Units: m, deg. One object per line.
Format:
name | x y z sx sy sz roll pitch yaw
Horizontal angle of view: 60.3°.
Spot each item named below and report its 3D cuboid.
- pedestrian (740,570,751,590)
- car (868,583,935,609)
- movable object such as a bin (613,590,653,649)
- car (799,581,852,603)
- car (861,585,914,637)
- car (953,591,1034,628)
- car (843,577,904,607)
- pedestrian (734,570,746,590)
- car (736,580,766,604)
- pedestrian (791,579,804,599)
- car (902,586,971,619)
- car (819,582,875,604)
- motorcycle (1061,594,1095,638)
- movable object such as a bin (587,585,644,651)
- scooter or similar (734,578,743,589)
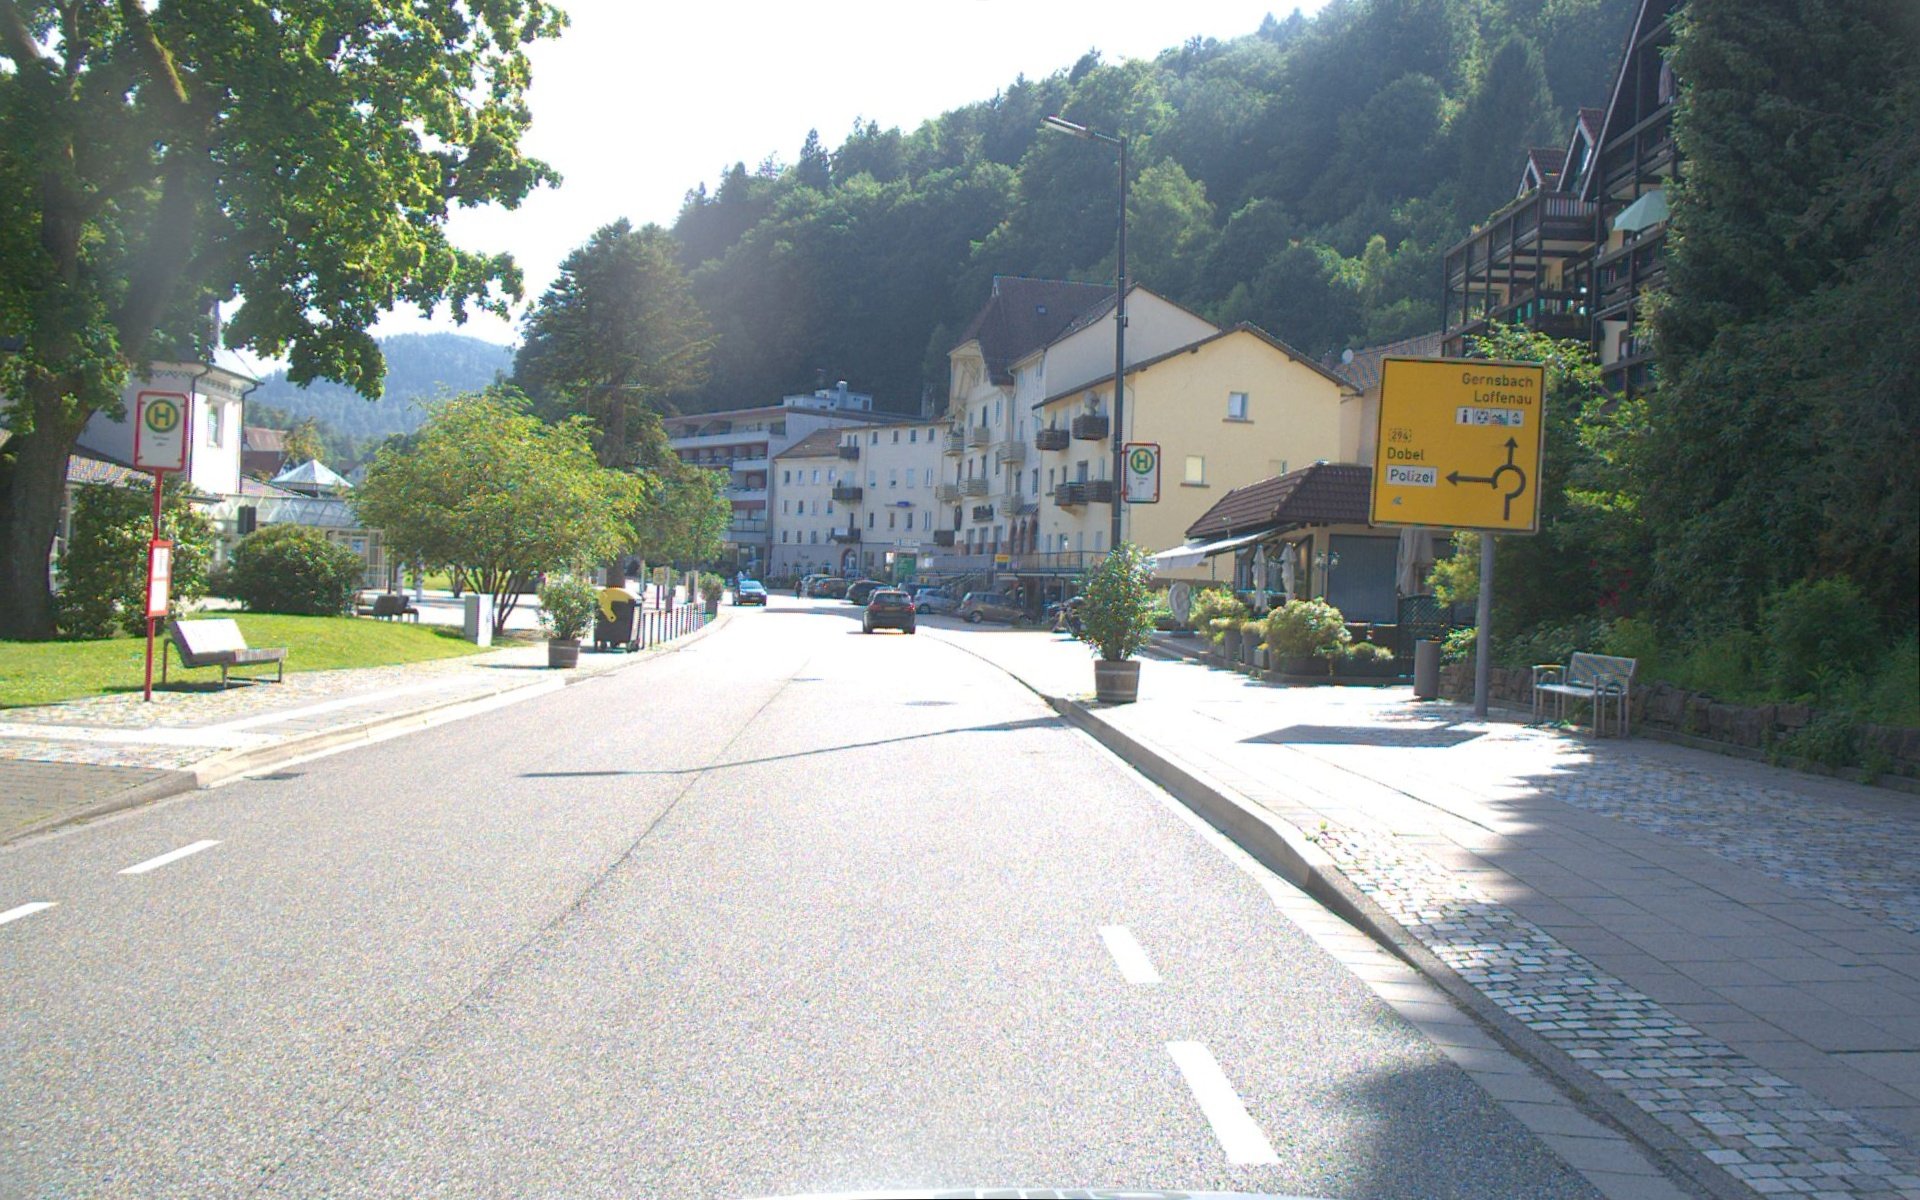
pedestrian | -18.481 -1.722 142.367 0.663 1.758 0.699 3 0 -34
car | -3.964 -0.250 111.487 4.277 1.486 1.769 4 -1 -9
movable object such as a bin | -8.058 0.467 40.812 0.740 1.365 1.293 4 0 -4
car | -10.623 -0.629 130.958 3.823 1.576 1.754 -1 3 -32
car | -2.674 0.380 60.645 1.694 1.601 3.750 3 2 -5
car | 1.748 0.502 86.553 3.795 1.581 1.754 5 0 -14
car | -6.083 -0.542 116.369 4.012 1.694 1.768 5 0 -11
pedestrian | -18.792 -1.719 141.211 0.750 1.621 0.621 3 0 -34
car | -12.840 -0.508 101.850 1.707 1.488 4.182 0 1 -6
pedestrian | -12.208 -0.806 124.495 0.729 1.467 0.625 0 2 -37
car | -1.448 0.163 100.052 3.841 1.616 1.770 5 0 -12
car | -8.669 -0.520 126.925 3.970 1.542 1.754 -1 3 -32
motorcycle | 3.682 0.485 51.737 0.683 1.319 2.210 -1 0 -5
movable object such as a bin | -8.087 0.411 38.858 1.057 1.452 1.375 4 0 -5
scooter or similar | -18.897 -1.418 141.341 0.591 0.967 0.469 3 0 -34
